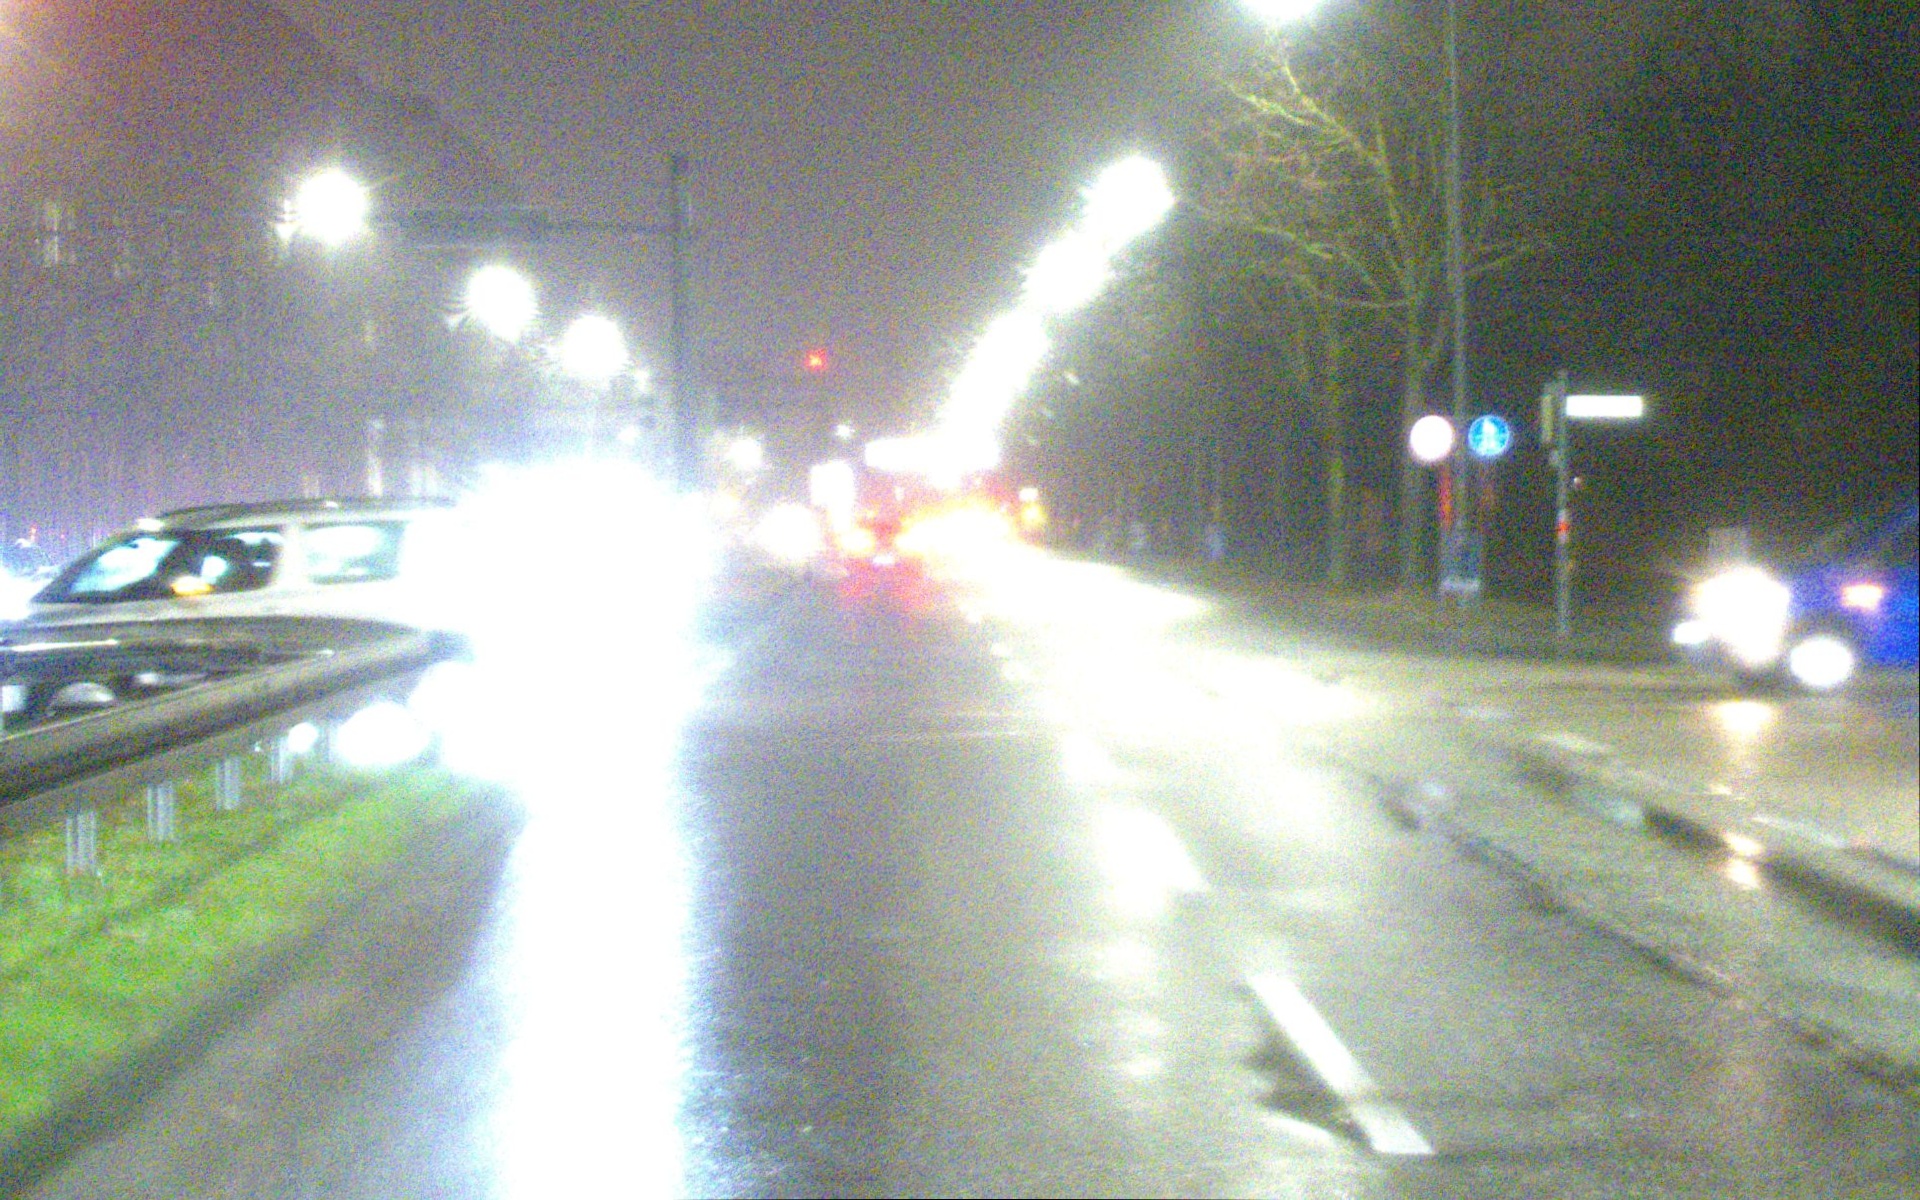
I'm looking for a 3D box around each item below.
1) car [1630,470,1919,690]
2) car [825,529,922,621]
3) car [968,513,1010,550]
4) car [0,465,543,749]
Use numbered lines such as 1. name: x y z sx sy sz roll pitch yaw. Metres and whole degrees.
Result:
1. car: 8.036 -0.152 28.637 4.491 1.743 1.860 1 0 -2
2. car: -2.012 -0.581 78.910 1.993 2.007 4.633 1 1 -4
3. car: 1.452 -3.440 173.311 1.993 1.753 4.000 1 1 -1
4. car: -5.151 0.035 22.774 4.385 1.735 1.909 0 1 -40
